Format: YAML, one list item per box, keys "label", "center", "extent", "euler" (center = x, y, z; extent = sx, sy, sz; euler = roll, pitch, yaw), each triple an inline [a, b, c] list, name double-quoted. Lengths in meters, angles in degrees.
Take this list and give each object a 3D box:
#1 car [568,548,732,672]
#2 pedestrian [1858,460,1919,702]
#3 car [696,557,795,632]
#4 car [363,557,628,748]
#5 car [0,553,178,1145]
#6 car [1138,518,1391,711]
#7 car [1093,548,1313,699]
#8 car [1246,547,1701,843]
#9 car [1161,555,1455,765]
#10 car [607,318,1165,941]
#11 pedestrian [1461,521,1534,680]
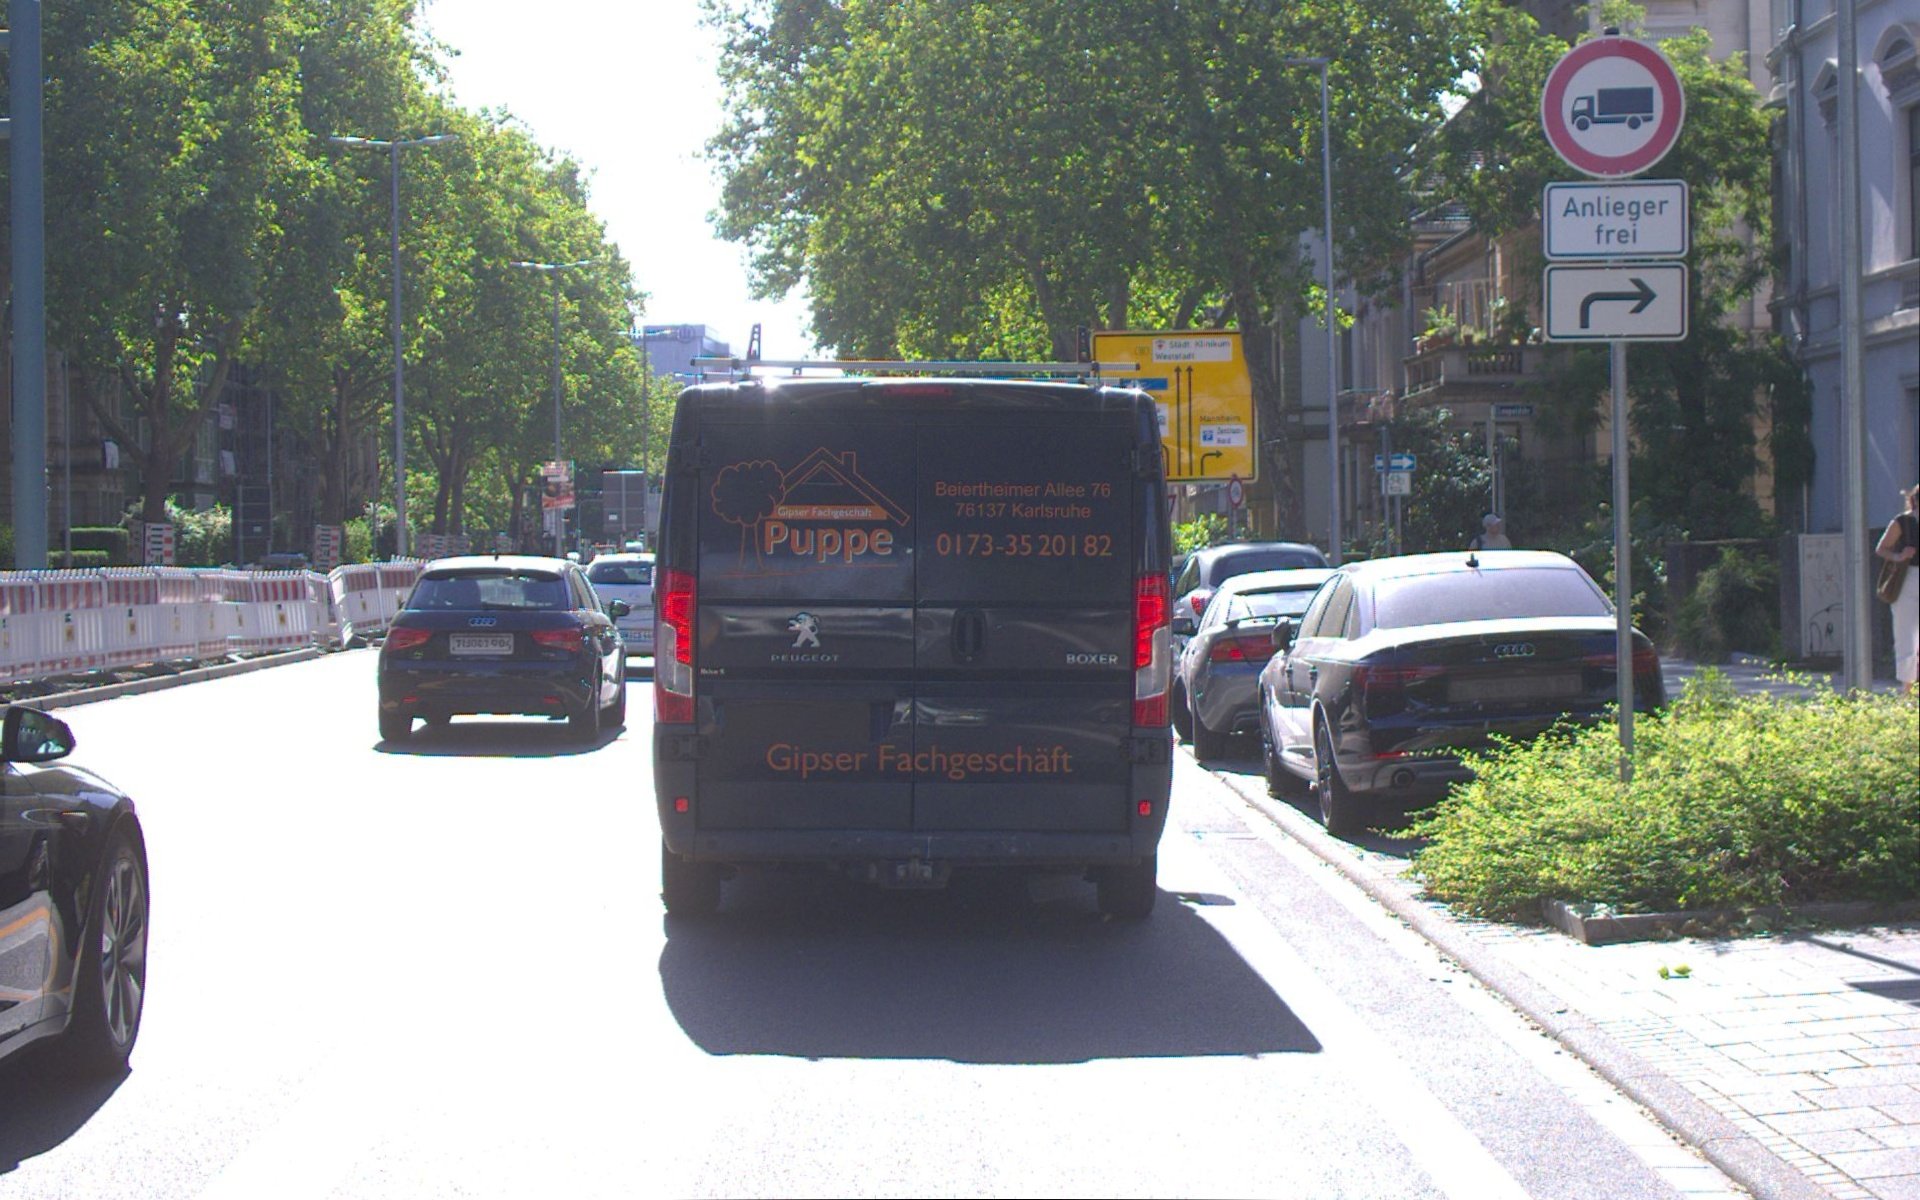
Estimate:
- label: "car"
  center: [-3.710, 0.098, 41.596]
  extent: [1.548, 1.420, 3.555]
  euler: [-1, 1, 2]
- label: "pedestrian"
  center: [7.013, -0.148, 25.273]
  extent: [0.675, 1.749, 0.875]
  euler: [-1, 1, 9]
- label: "car"
  center: [-3.605, -0.107, 58.155]
  extent: [1.421, 1.221, 3.438]
  euler: [-1, 1, 0]
- label: "car"
  center: [-3.673, 0.369, 27.773]
  extent: [1.746, 1.402, 4.000]
  euler: [1, 1, -2]
- label: "car"
  center: [-3.265, 0.603, 7.864]
  extent: [1.925, 1.407, 4.626]
  euler: [1, 1, -1]
- label: "car"
  center: [2.788, 0.101, 32.264]
  extent: [1.844, 1.638, 3.801]
  euler: [-2, 1, -2]
- label: "car"
  center: [2.501, 0.208, 36.161]
  extent: [1.844, 1.403, 3.801]
  euler: [-3, 1, -2]
- label: "car"
  center: [2.737, 0.439, 19.308]
  extent: [1.844, 1.437, 4.487]
  euler: [-1, 1, 0]
- label: "car"
  center: [2.500, 0.386, 25.478]
  extent: [1.844, 1.403, 3.800]
  euler: [-1, 1, 1]
- label: "car"
  center: [-0.336, 0.063, 14.945]
  extent: [2.095, 2.347, 3.933]
  euler: [0, 1, -2]
- label: "pedestrian"
  center: [6.918, -0.008, 44.280]
  extent: [0.798, 2.007, 1.168]
  euler: [-1, 1, 4]
